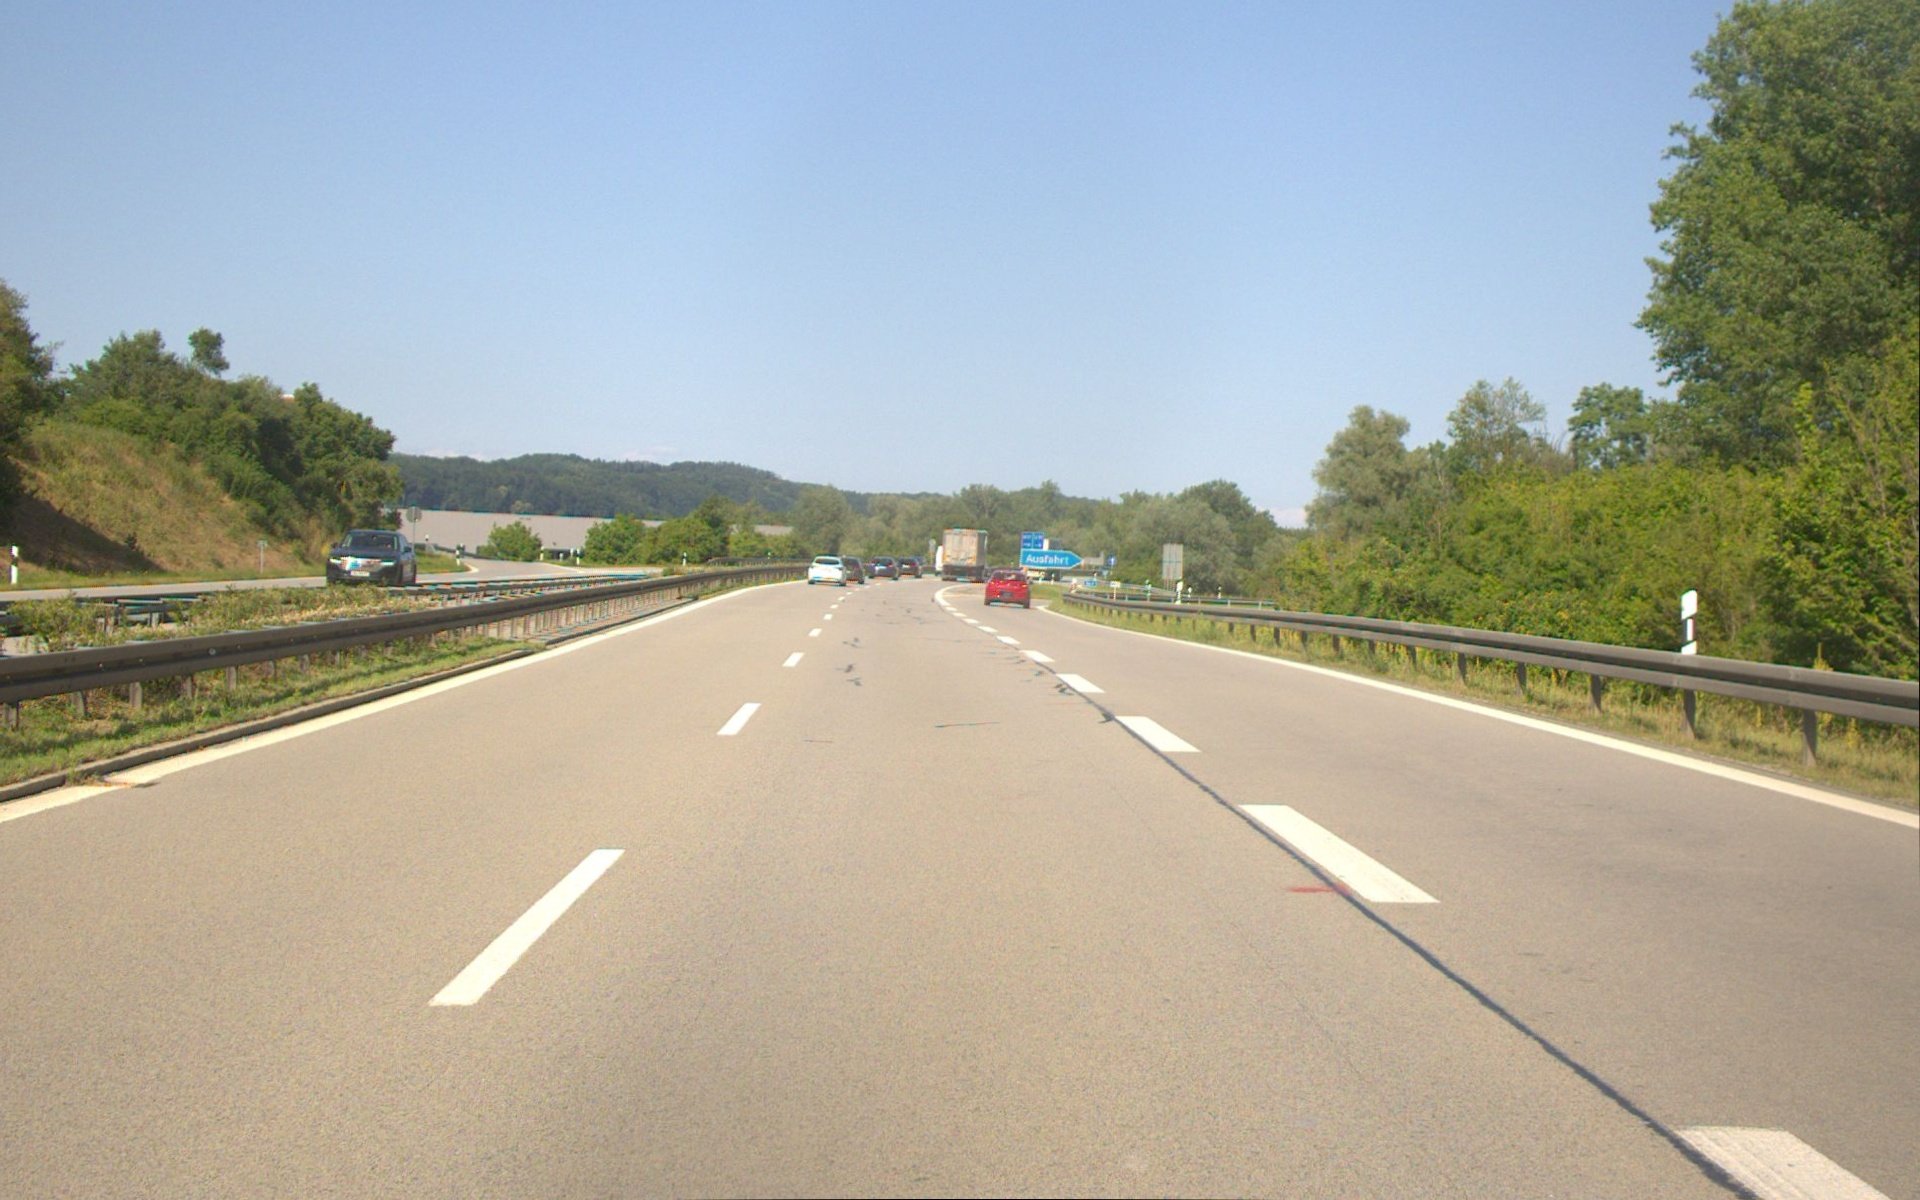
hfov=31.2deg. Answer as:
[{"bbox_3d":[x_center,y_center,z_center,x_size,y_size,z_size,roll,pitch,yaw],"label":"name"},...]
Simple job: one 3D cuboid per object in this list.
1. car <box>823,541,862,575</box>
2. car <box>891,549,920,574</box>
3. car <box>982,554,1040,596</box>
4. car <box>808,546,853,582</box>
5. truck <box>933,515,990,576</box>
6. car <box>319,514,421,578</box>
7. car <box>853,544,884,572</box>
[{"bbox_3d":[-6.347,-2.300,186.658,1.993,1.744,4.000,2,1,-1],"label":"car"},{"bbox_3d":[-4.079,-2.916,258.525,1.993,1.744,4.000,2,1,1],"label":"car"},{"bbox_3d":[1.988,-0.946,133.912,1.784,1.426,3.999,5,0,6],"label":"car"},{"bbox_3d":[-6.330,-1.754,168.435,2.061,1.619,4.000,1,-1,-1],"label":"car"},{"bbox_3d":[0.152,-4.064,255.919,3.837,4.382,11.471,1,1,1],"label":"truck"},{"bbox_3d":[-16.093,-1.451,94.008,1.993,1.639,5.084,1,0,-1],"label":"car"},{"bbox_3d":[-6.100,-2.805,229.088,1.993,1.744,4.000,2,1,-1],"label":"car"}]
